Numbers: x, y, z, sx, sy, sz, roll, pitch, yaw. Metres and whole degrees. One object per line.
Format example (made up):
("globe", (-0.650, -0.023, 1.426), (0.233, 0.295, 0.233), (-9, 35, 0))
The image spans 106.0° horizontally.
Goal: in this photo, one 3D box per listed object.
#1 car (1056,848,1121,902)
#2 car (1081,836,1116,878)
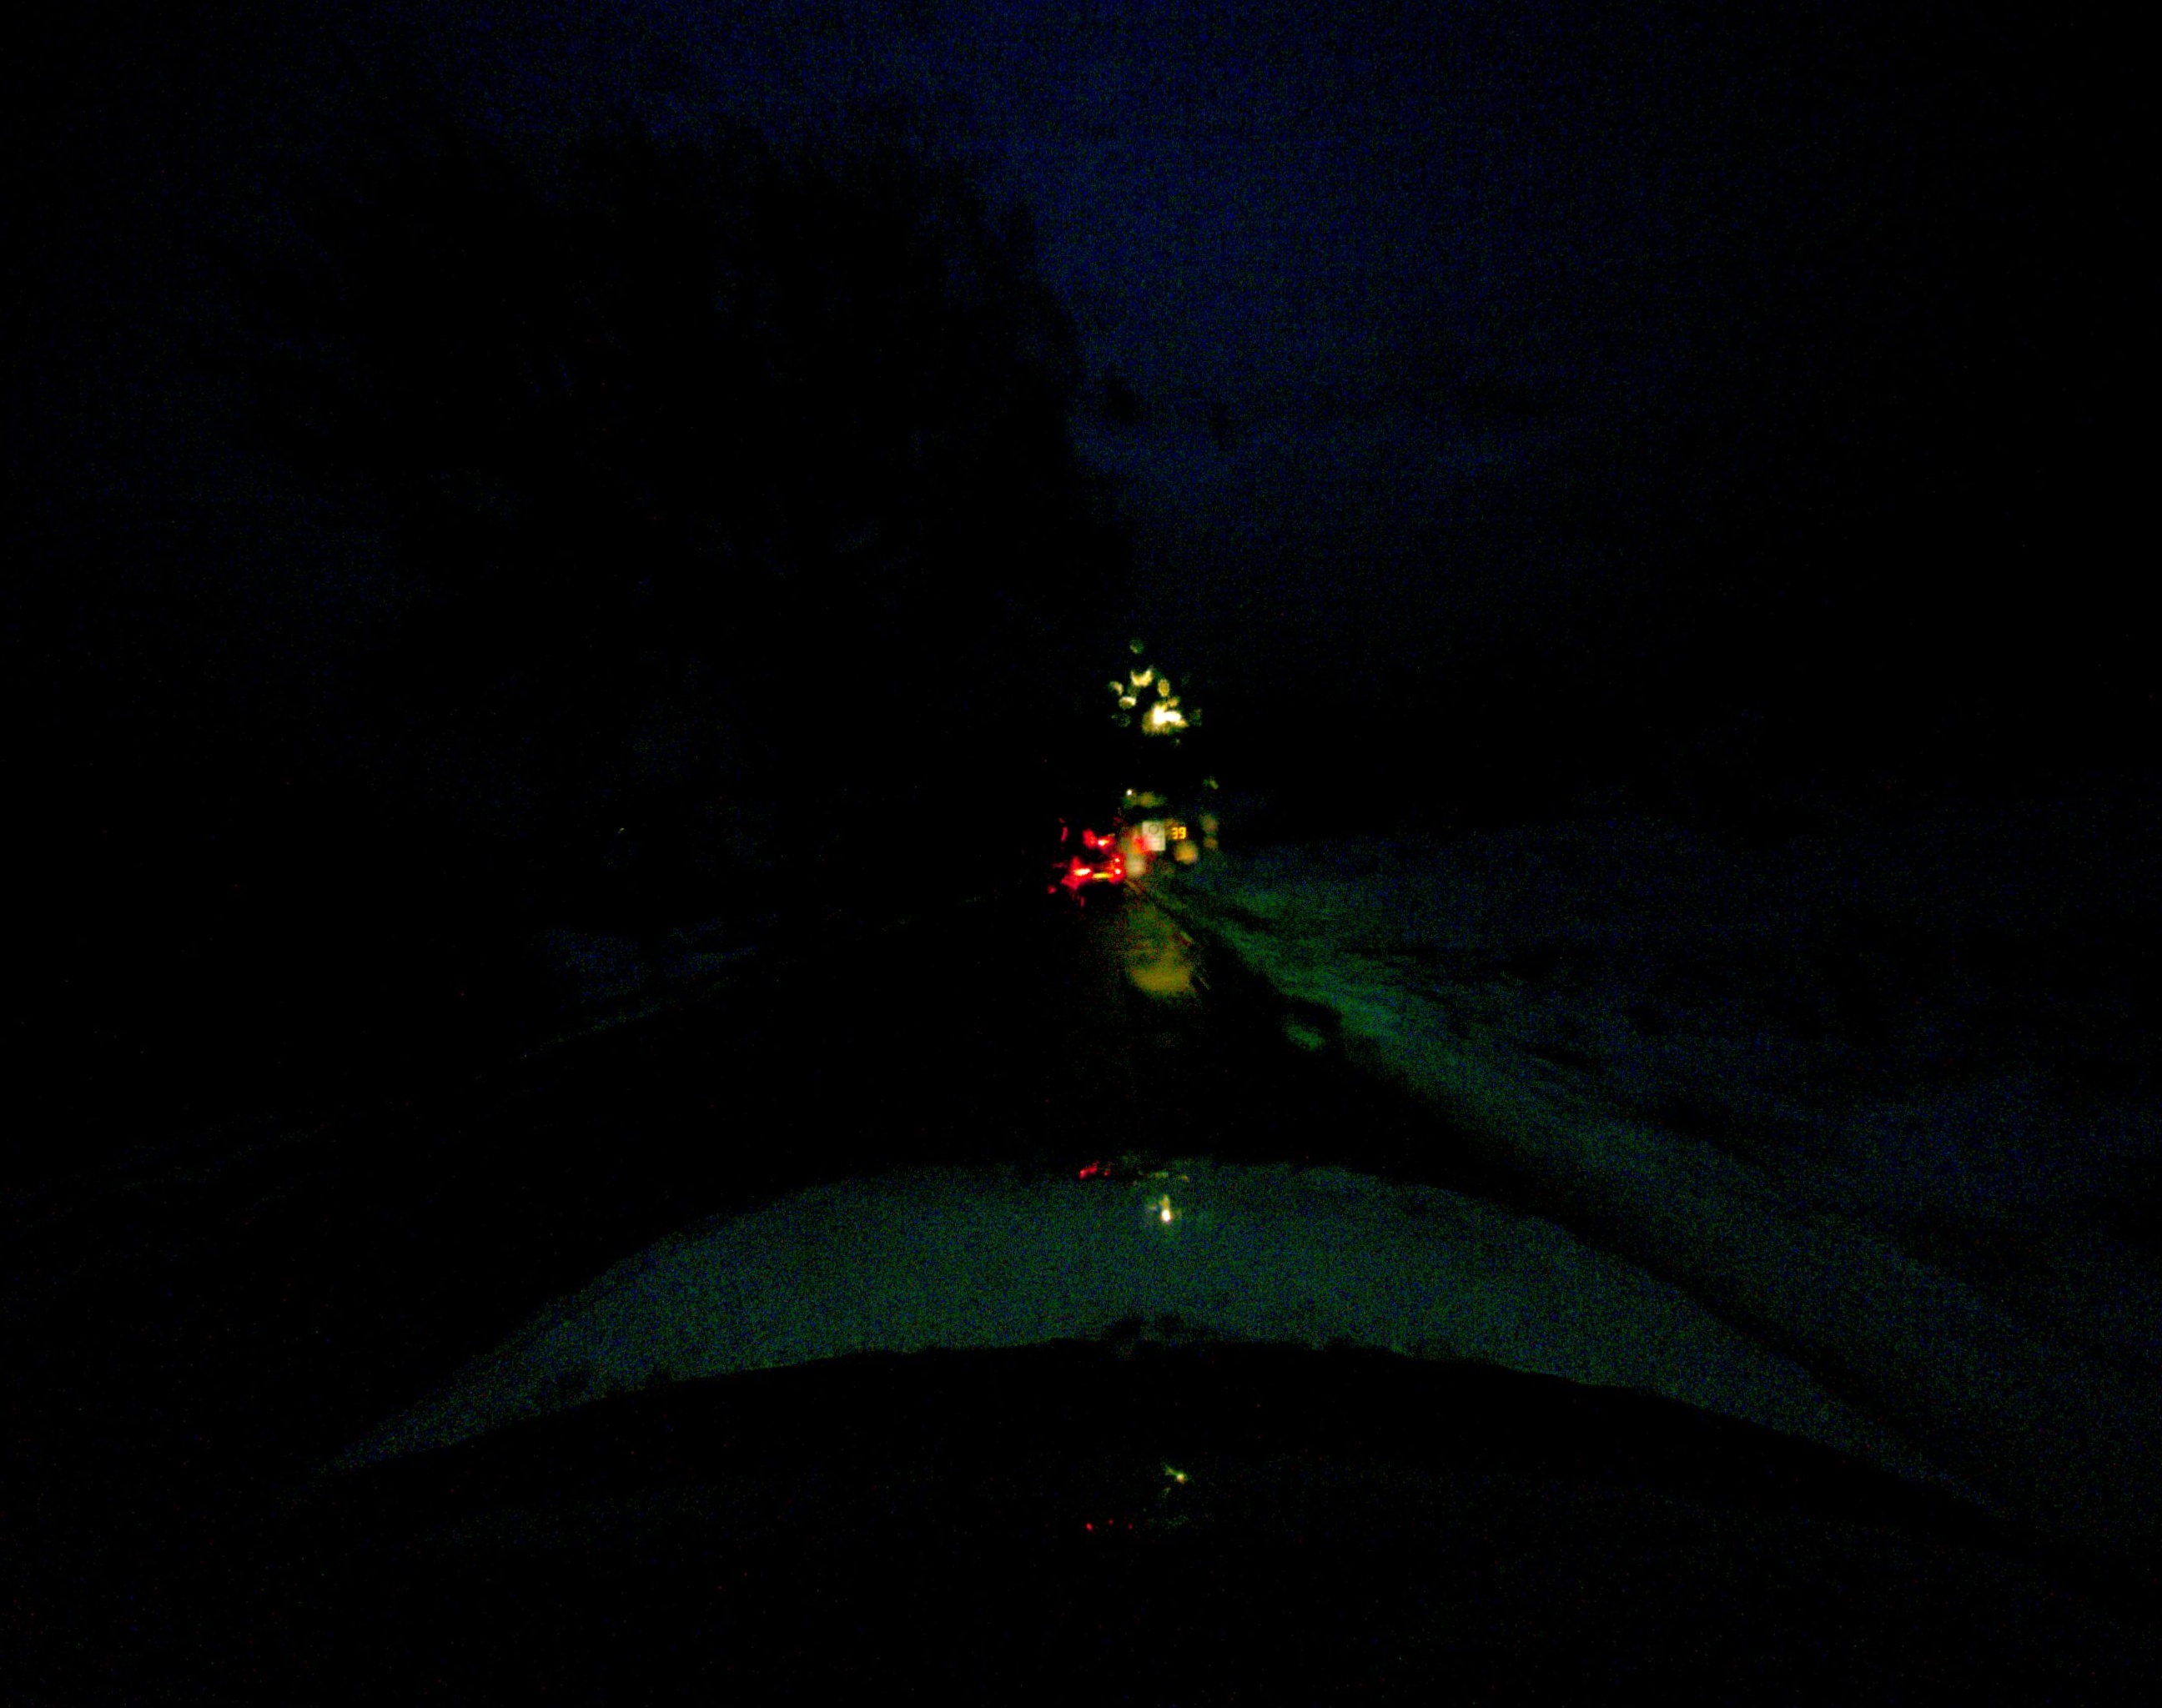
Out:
("car", (0.295, 0.779, 31.516), (2.266, 1.841, 5.006), (-2, -1, 1))
("car", (1.394, 0.276, 63.420), (2.425, 3.019, 5.328), (-3, -2, 3))
